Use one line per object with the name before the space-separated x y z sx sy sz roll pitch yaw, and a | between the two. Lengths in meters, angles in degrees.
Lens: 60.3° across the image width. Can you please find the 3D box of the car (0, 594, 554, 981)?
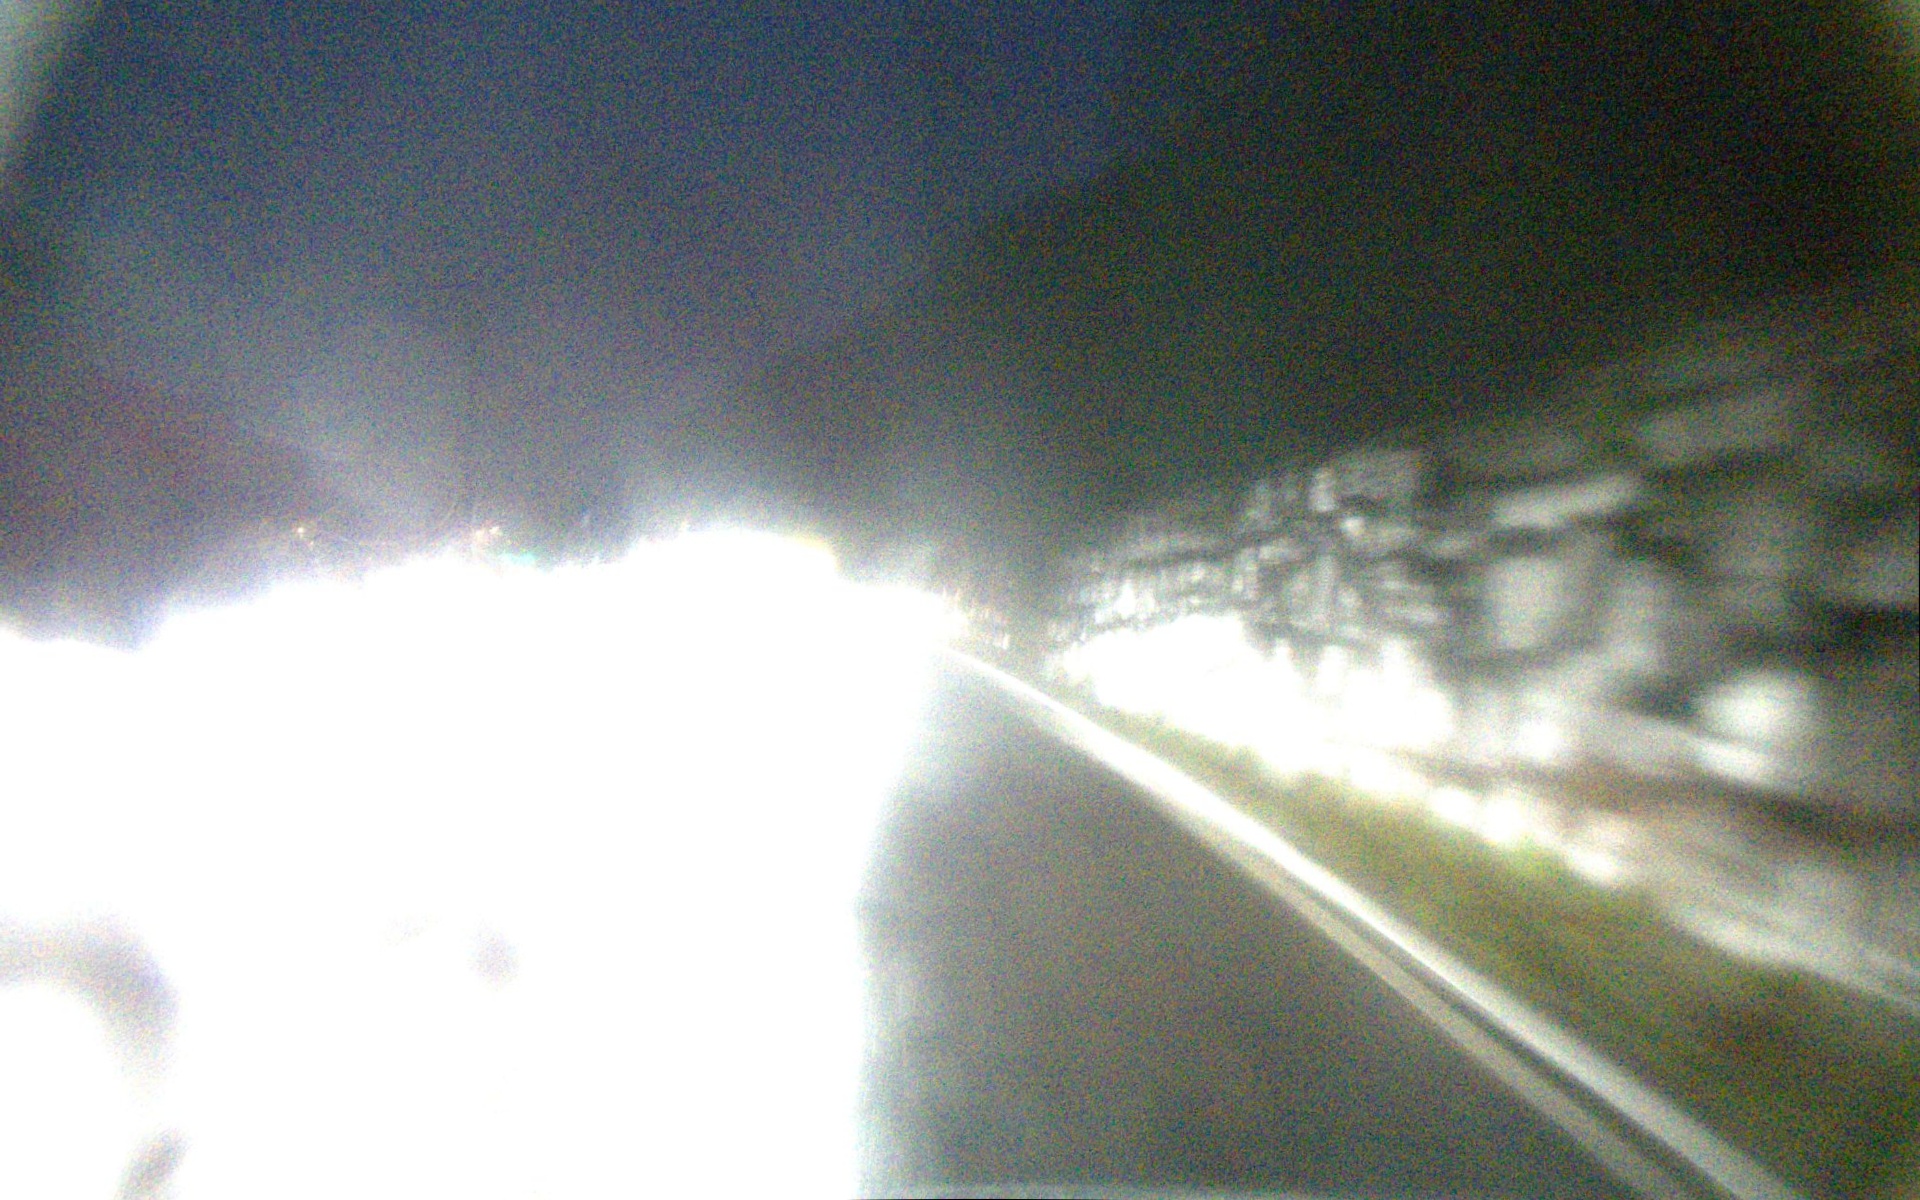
car | -3.325 0.739 8.298 1.749 1.505 3.678 0 0 -2

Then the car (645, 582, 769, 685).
car | -4.465 0.562 29.734 1.772 1.705 4.290 0 0 -3

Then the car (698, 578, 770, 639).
car | -7.102 0.266 52.442 1.954 1.837 4.592 0 0 -4
